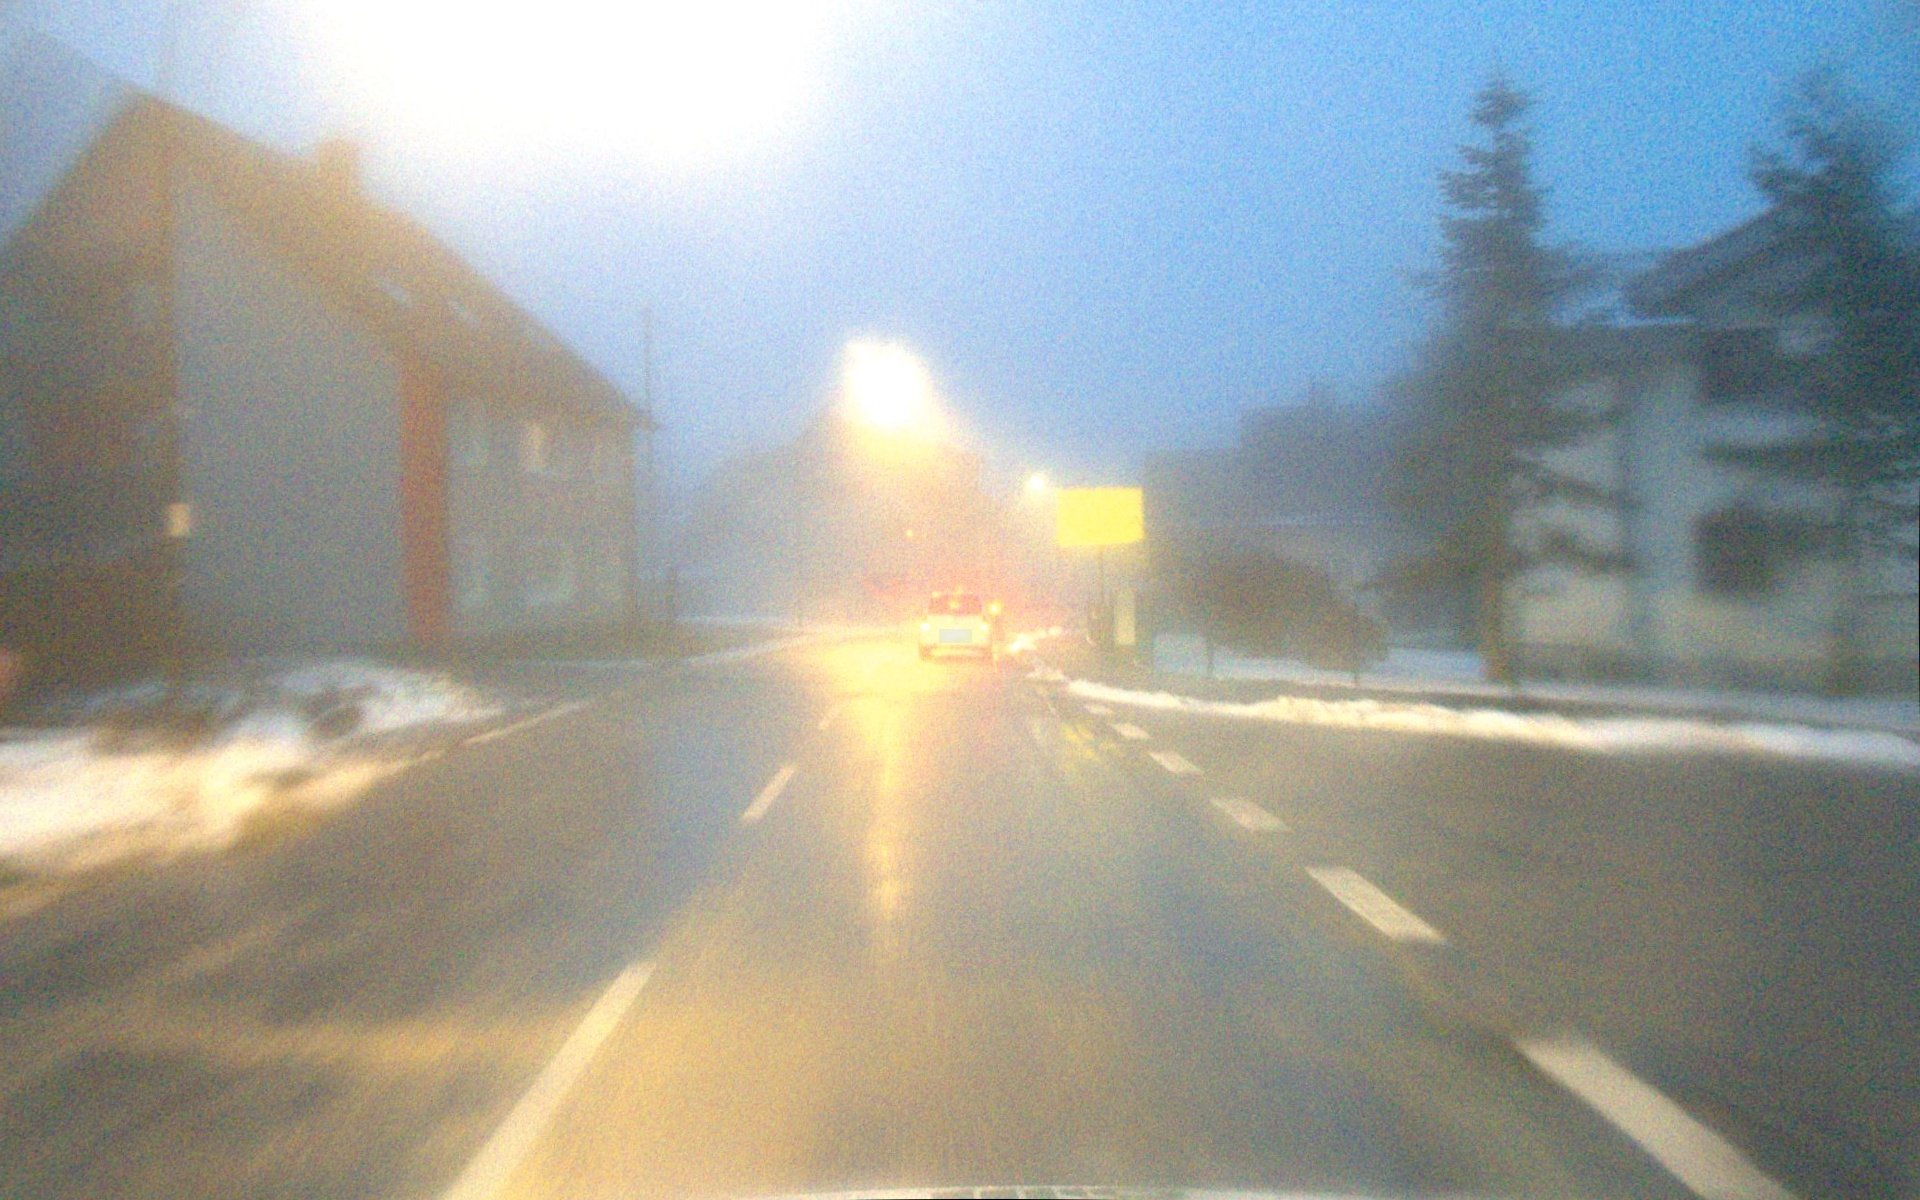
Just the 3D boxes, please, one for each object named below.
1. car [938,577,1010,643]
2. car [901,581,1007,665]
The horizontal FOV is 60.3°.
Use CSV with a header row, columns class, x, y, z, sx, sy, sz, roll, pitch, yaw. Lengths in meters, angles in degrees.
class,x,y,z,sx,sy,sz,roll,pitch,yaw
car,0.496,0.297,53.946,1.951,1.869,4.004,-3,2,5
car,-0.068,0.451,36.340,1.952,1.534,4.003,-3,2,4
